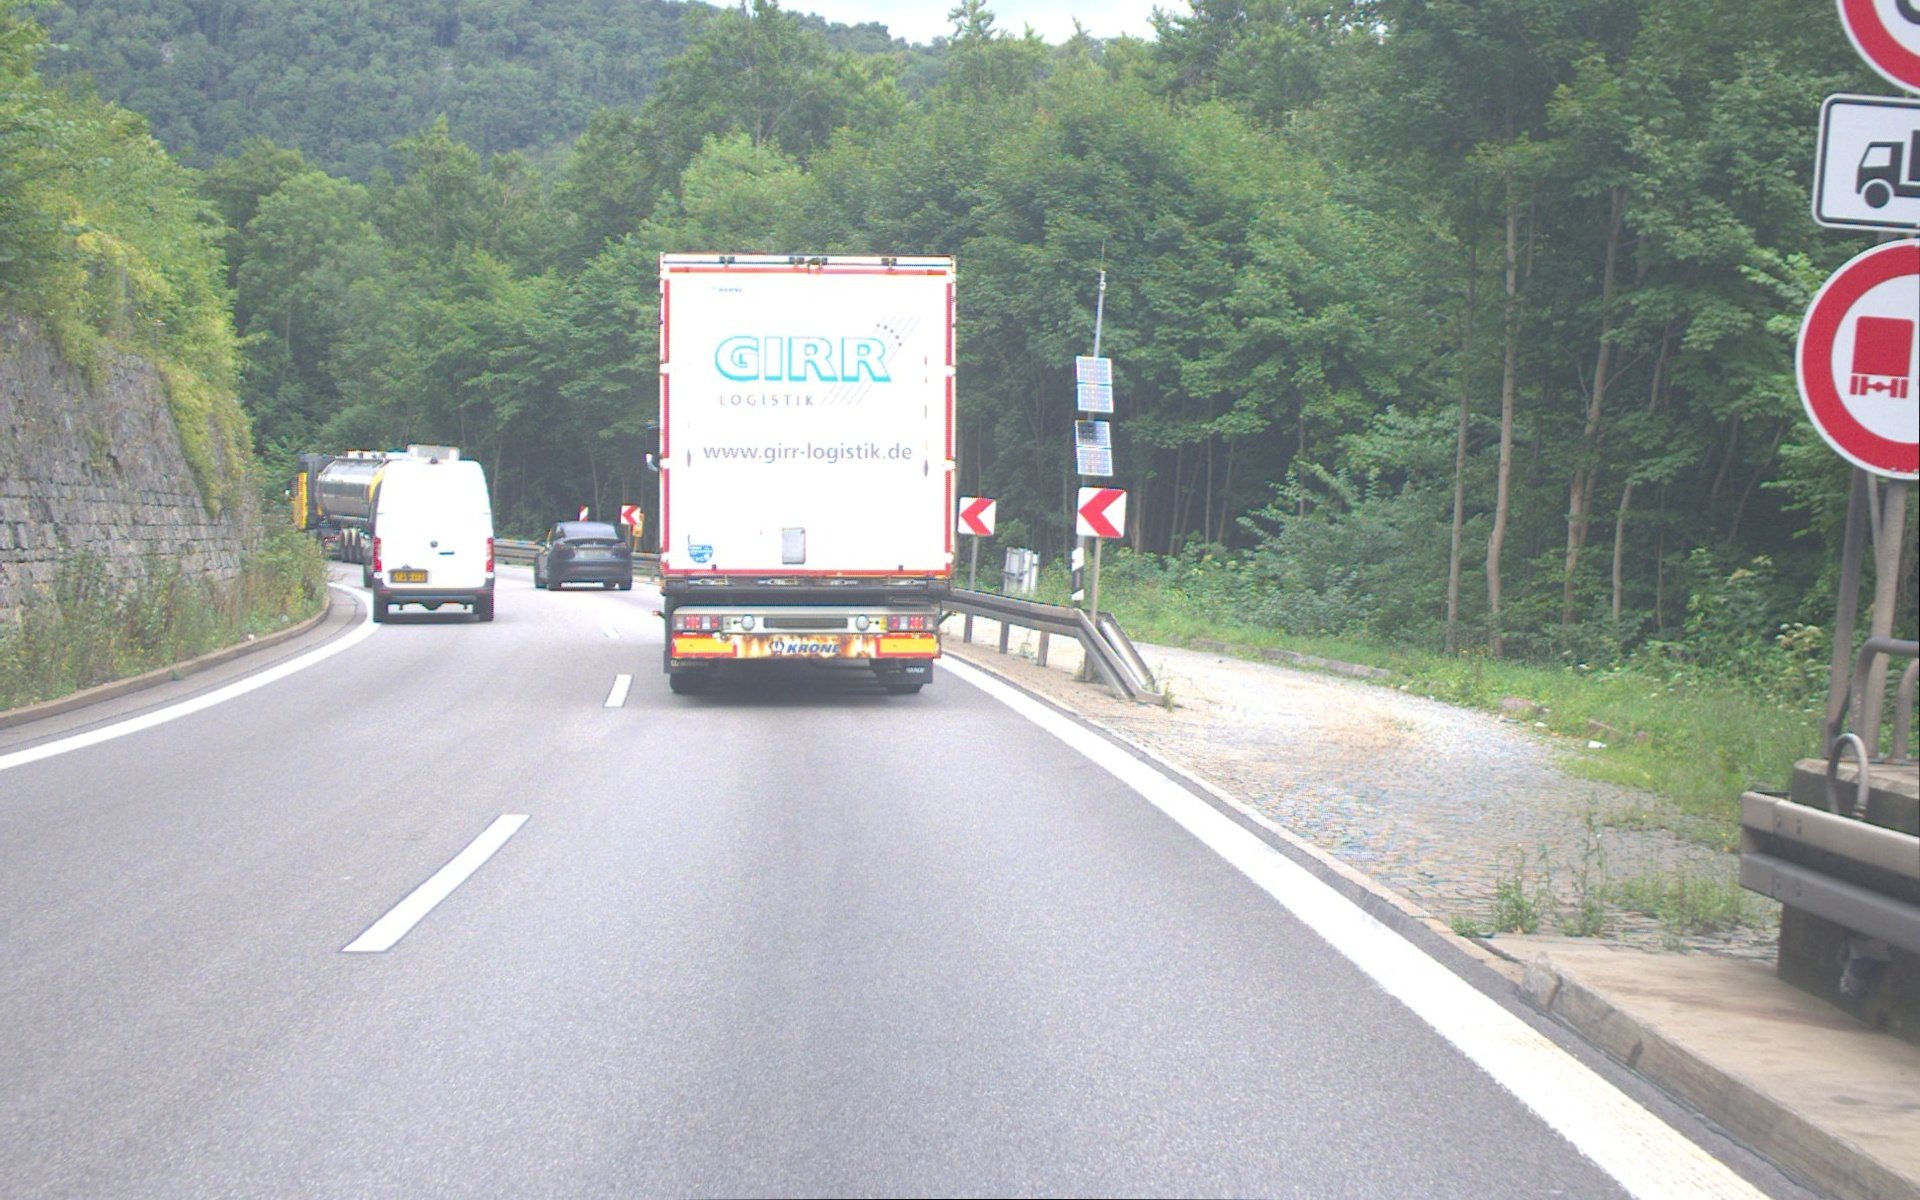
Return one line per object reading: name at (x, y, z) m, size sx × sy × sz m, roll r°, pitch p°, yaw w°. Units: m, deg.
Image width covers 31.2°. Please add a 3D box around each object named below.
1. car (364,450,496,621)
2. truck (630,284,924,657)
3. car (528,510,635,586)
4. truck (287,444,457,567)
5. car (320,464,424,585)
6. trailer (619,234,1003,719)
car at (-9.029, -1.117, 58.640) m, size 1.988 × 2.663 × 6.938 m, roll 2°, pitch 1°, yaw -9°
truck at (-2.324, -1.585, 41.714) m, size 3.057 × 3.972 × 7.189 m, roll 3°, pitch 2°, yaw -5°
car at (-8.887, -1.235, 80.464) m, size 1.993 × 1.656 × 4.001 m, roll 2°, pitch 1°, yaw -13°
truck at (-20.373, -3.339, 118.265) m, size 3.057 × 3.972 × 13.703 m, roll -1°, pitch 2°, yaw -21°
car at (-13.877, -1.788, 80.899) m, size 1.939 × 2.663 × 5.993 m, roll 2°, pitch 1°, yaw -13°
trailer at (-1.770, -1.310, 35.329) m, size 3.057 × 3.972 × 12.140 m, roll 3°, pitch 2°, yaw -5°
